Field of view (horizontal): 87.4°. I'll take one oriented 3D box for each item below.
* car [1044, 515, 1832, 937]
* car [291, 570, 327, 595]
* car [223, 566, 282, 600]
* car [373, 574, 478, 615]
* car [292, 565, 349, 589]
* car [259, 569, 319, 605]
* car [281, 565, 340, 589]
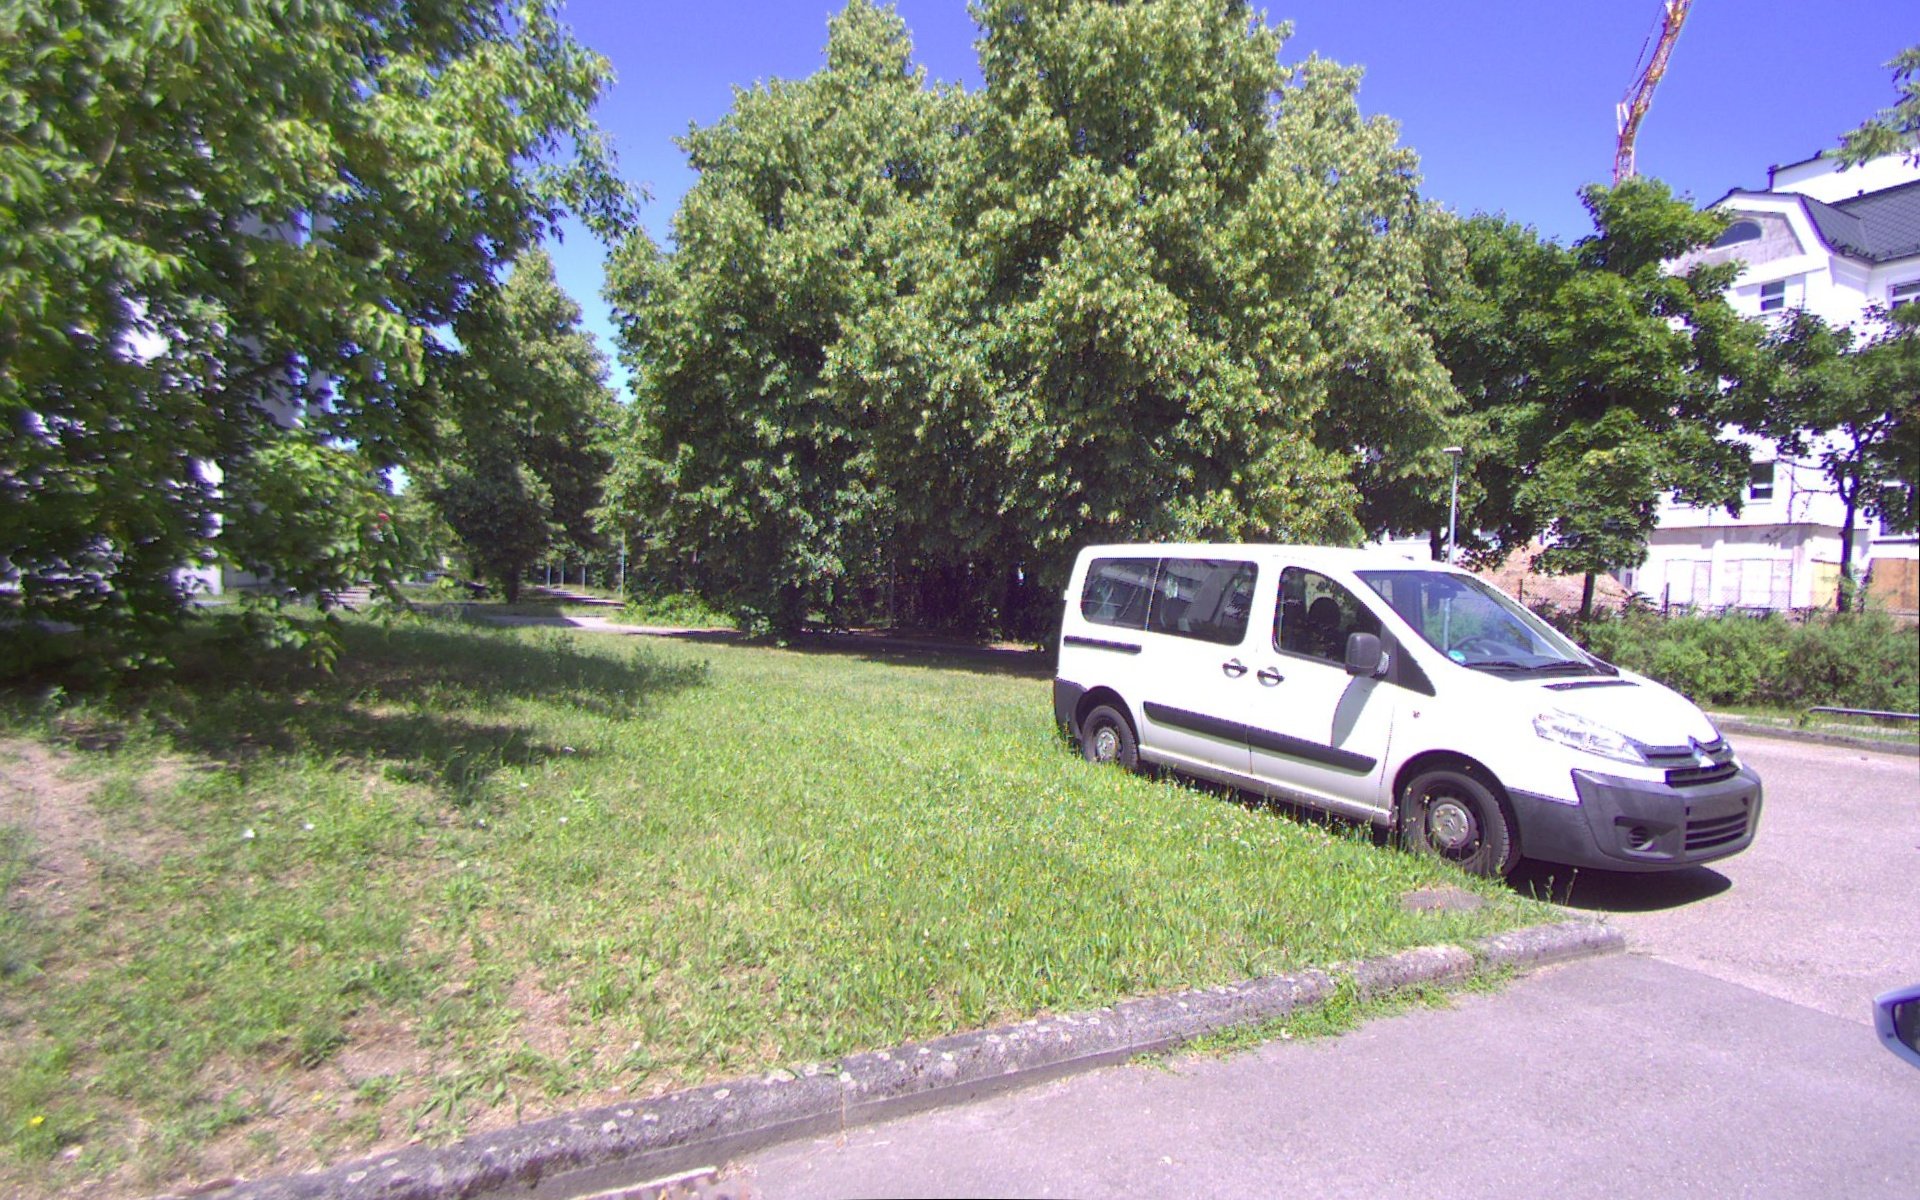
[{"bbox_3d":[2.820,0.565,7.176,1.978,1.937,4.763,2,0,-31],"label":"car"},{"bbox_3d":[-46.801,-1.256,72.286,1.954,1.639,4.135,3,0,-31],"label":"car"},{"bbox_3d":[-37.560,-0.923,53.420,1.951,1.639,4.141,3,0,-27],"label":"car"},{"bbox_3d":[-24.511,-0.241,46.111,4.122,1.639,1.960,3,0,-30],"label":"car"},{"bbox_3d":[-53.325,-1.912,83.768,3.958,1.756,1.775,3,0,-34],"label":"car"},{"bbox_3d":[-34.087,-0.677,51.146,1.951,1.639,4.142,3,0,-27],"label":"car"},{"bbox_3d":[-52.584,-1.855,81.348,3.958,1.756,1.775,3,0,-34],"label":"car"}]
